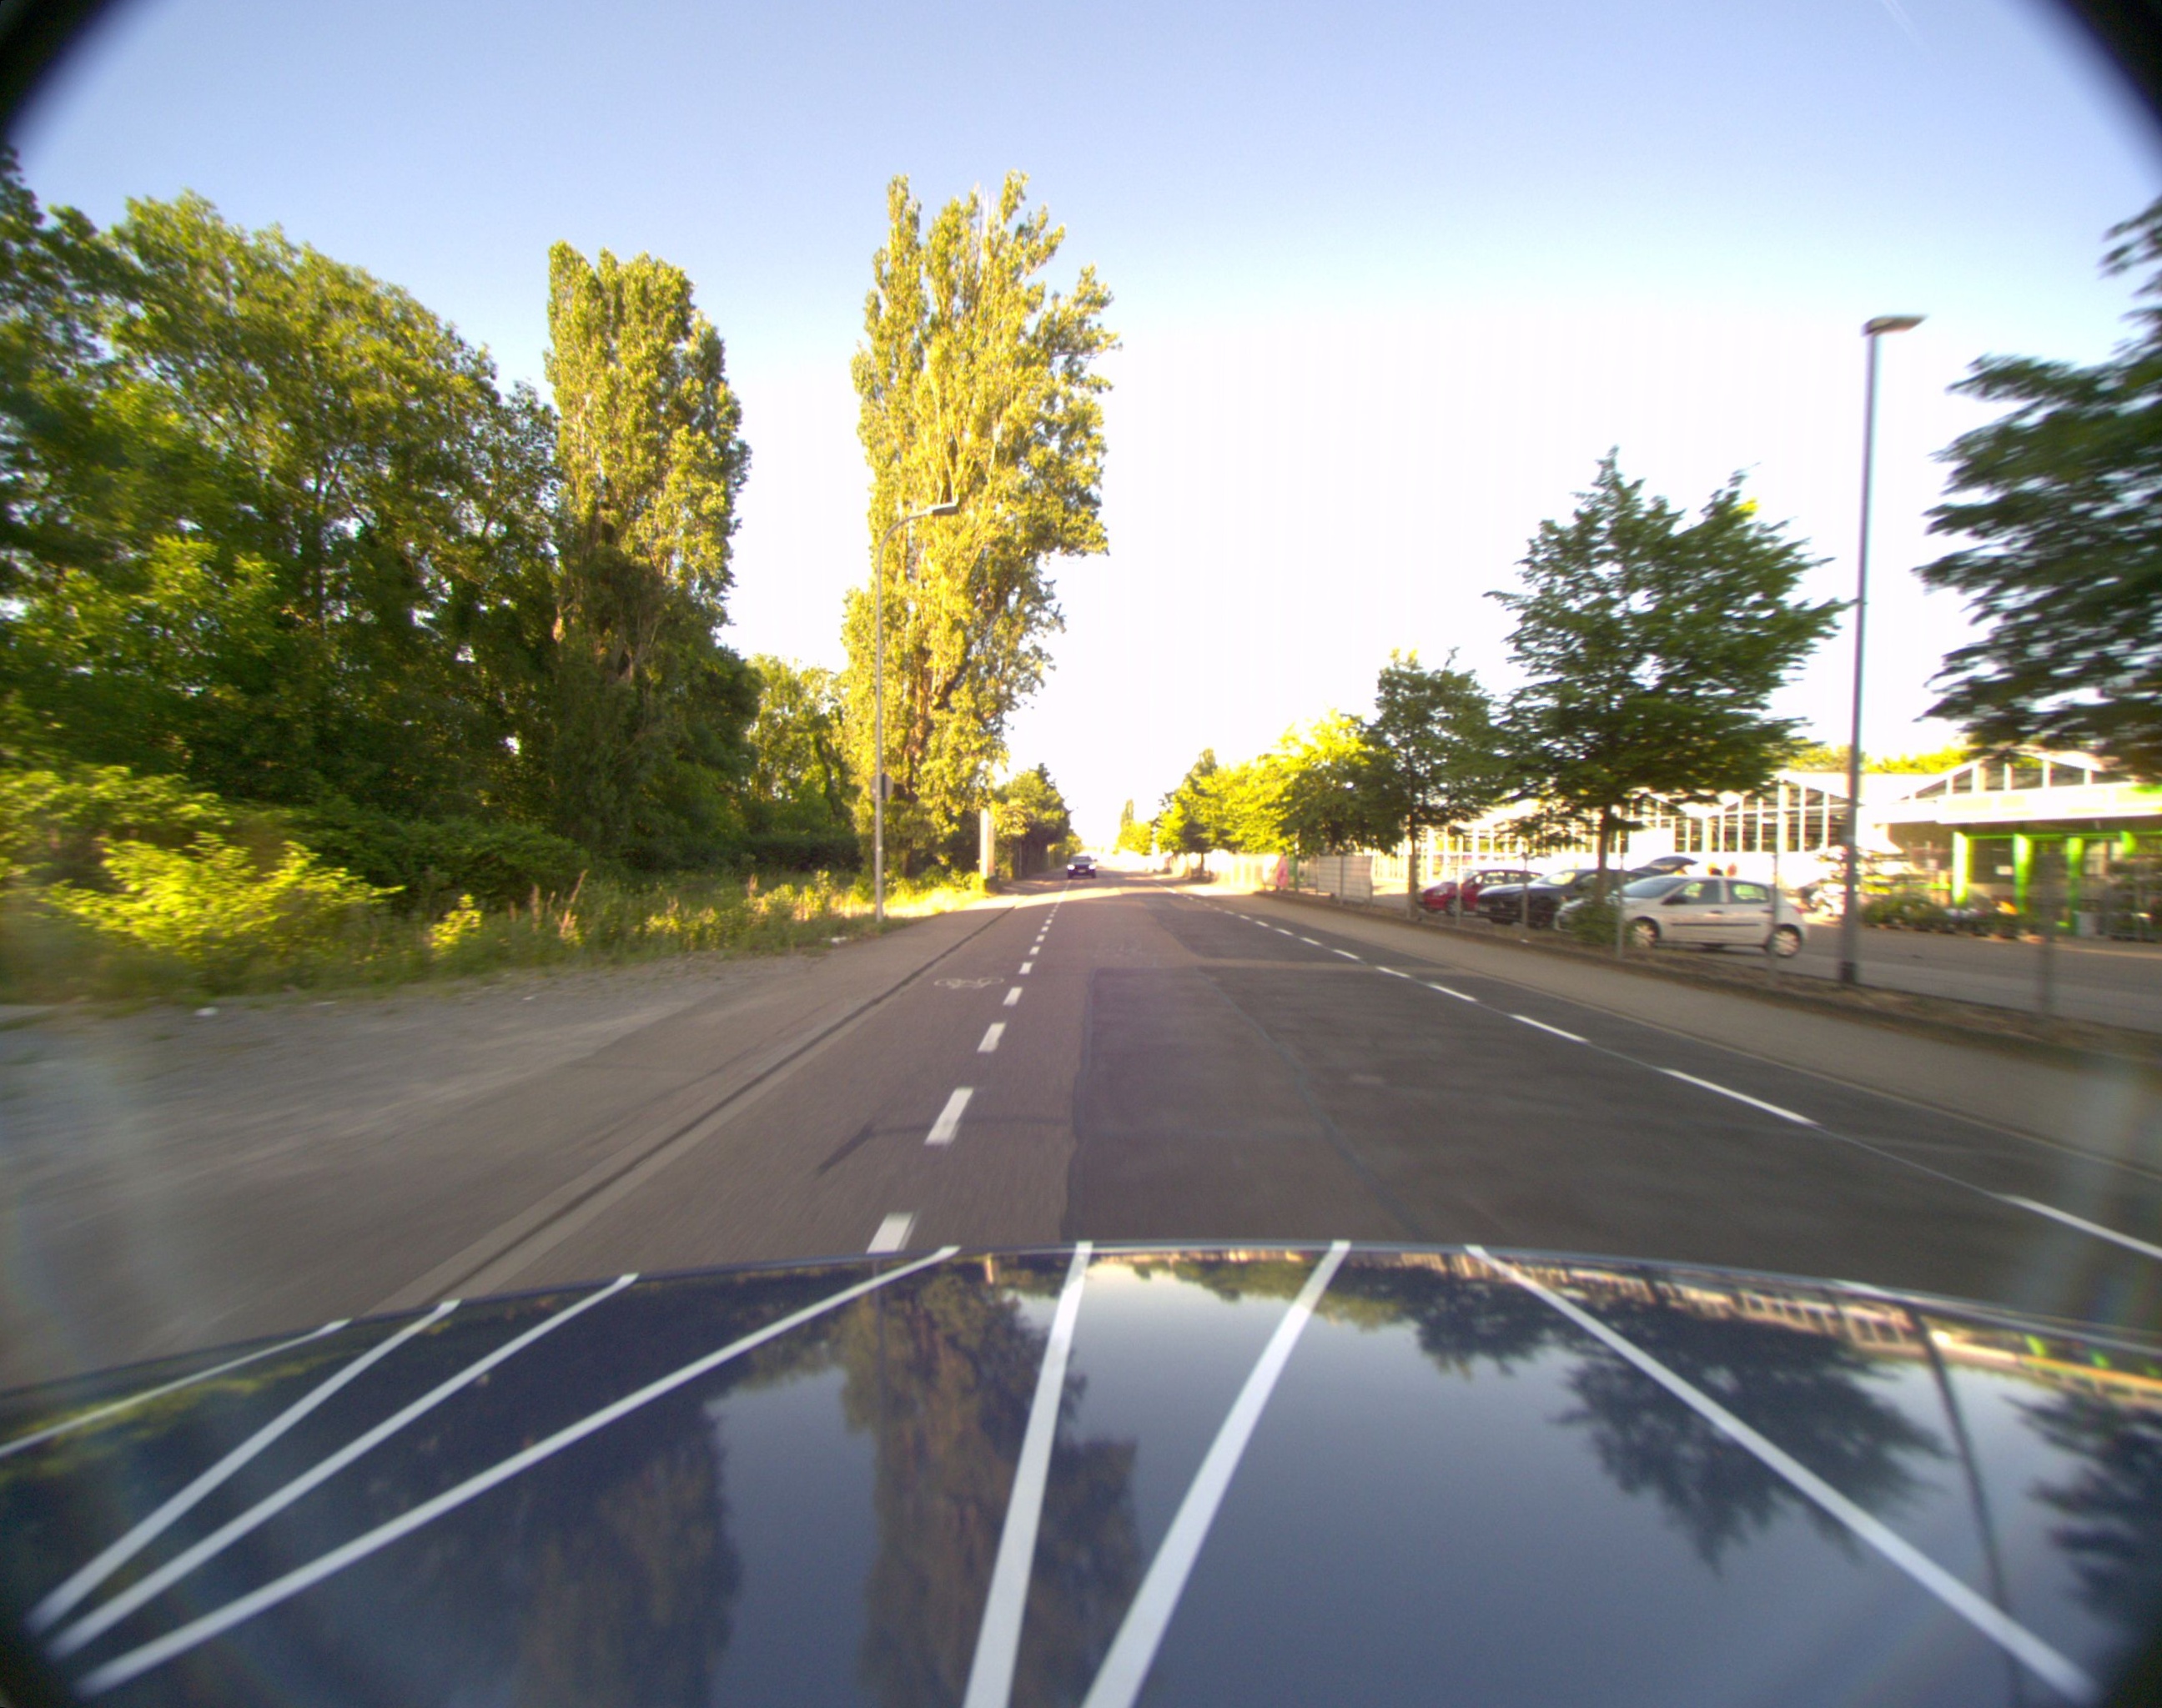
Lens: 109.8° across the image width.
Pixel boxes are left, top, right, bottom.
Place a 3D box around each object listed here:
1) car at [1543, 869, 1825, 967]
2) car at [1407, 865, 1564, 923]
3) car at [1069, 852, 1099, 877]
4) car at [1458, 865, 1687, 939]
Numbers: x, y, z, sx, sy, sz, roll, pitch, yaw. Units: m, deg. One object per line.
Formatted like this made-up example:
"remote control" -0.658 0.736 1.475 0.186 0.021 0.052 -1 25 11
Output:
"car" 11.370 1.163 14.537 3.899 1.502 1.786 3 0 0
"car" 12.182 1.179 23.036 3.736 1.442 1.805 3 0 -2
"car" 0.171 0.705 54.086 1.999 1.608 4.000 -3 0 0
"car" 11.838 1.120 18.520 4.197 1.442 2.052 3 0 -2
